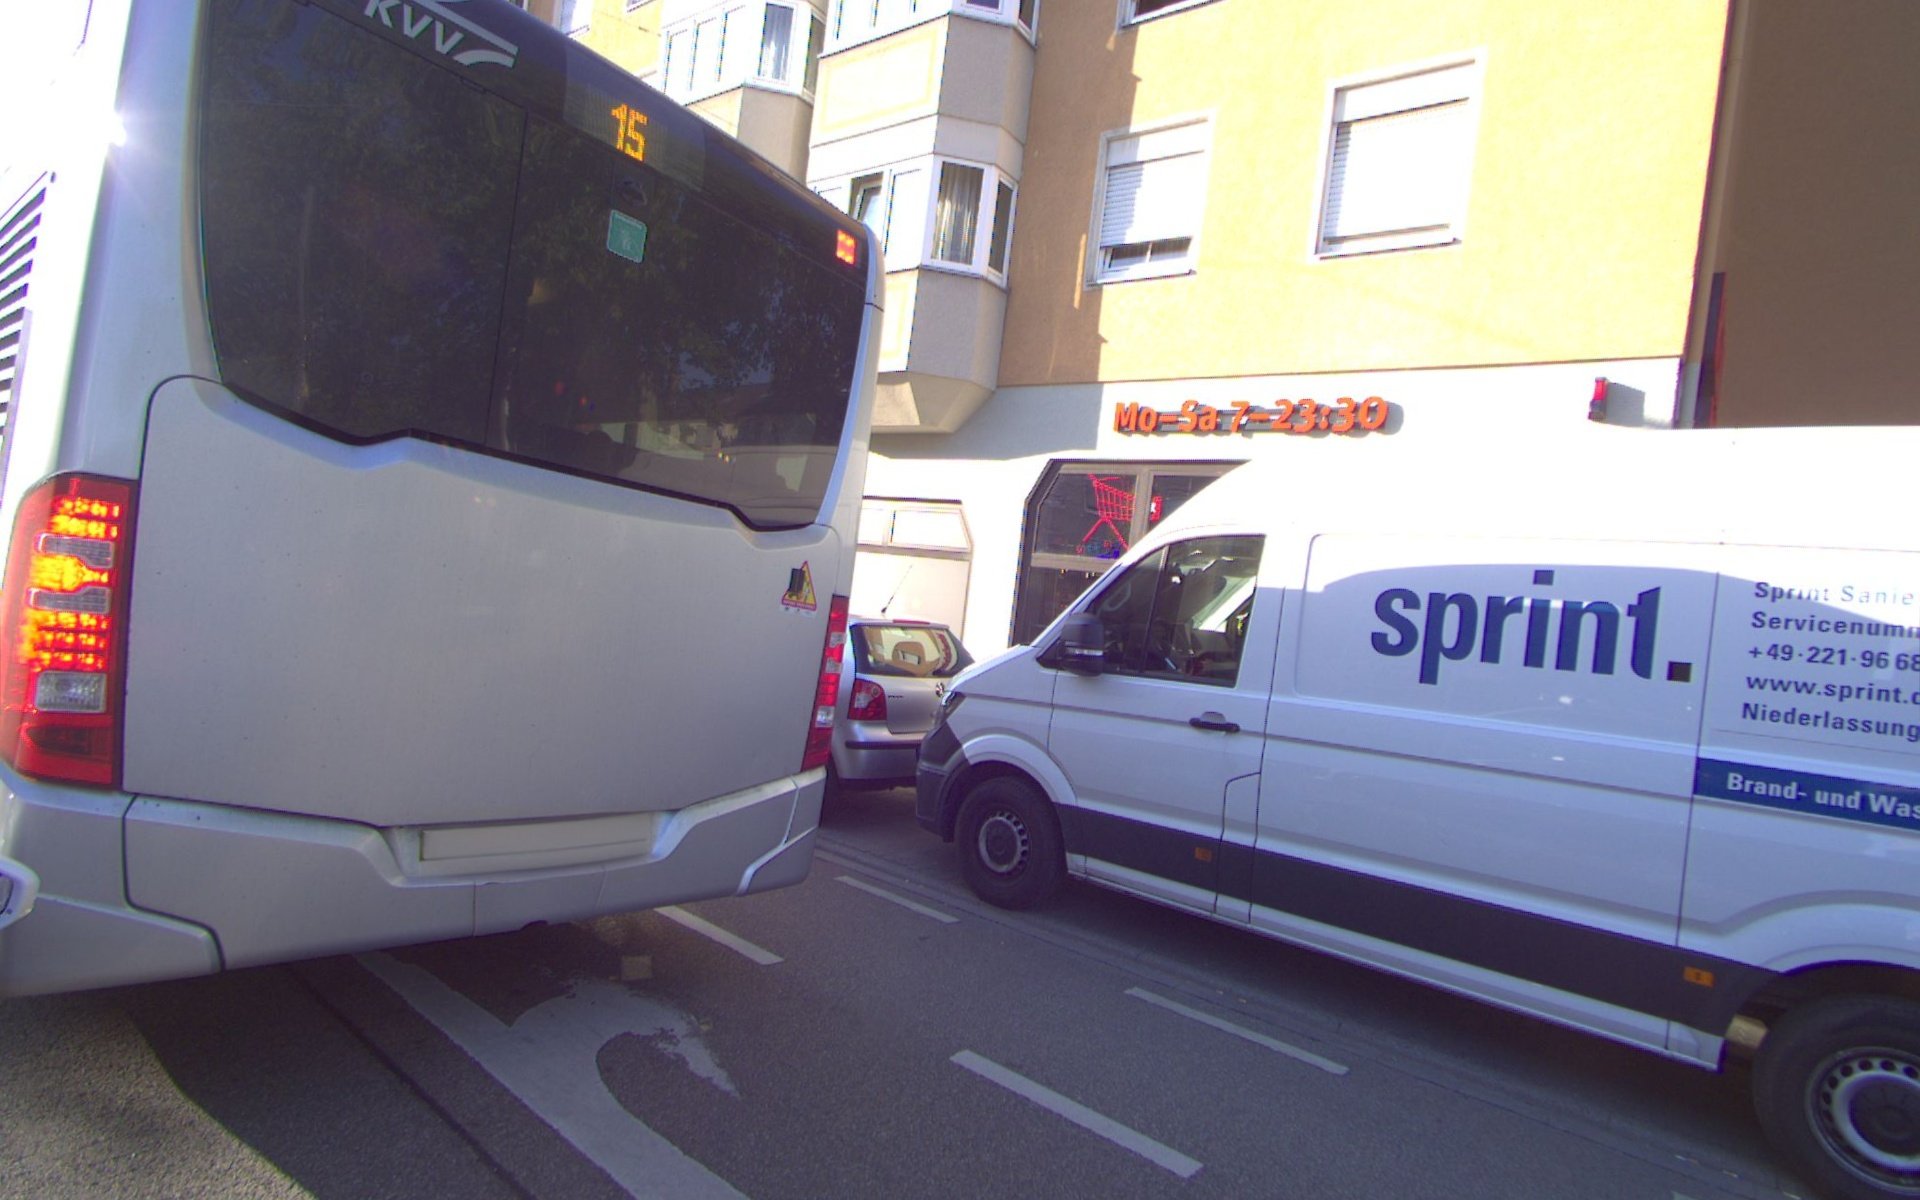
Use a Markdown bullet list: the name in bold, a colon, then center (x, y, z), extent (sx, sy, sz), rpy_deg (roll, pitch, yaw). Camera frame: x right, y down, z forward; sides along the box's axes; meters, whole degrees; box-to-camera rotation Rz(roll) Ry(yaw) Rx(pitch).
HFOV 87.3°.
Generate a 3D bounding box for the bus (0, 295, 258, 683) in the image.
- **bus**: center (-11.175, -1.286, 11.366), extent (8.998, 3.091, 2.738), rpy_deg (7, -2, 40)

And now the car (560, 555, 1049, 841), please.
- **car**: center (-1.396, 0.644, 8.272), extent (3.730, 1.607, 1.837), rpy_deg (7, 0, 40)

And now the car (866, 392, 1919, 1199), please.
- **car**: center (2.355, 0.551, 4.880), extent (5.700, 2.586, 2.012), rpy_deg (6, 3, 39)

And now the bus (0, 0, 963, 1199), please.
- **bus**: center (-4.371, -0.518, 5.700), extent (8.725, 3.091, 2.738), rpy_deg (7, -2, 40)
